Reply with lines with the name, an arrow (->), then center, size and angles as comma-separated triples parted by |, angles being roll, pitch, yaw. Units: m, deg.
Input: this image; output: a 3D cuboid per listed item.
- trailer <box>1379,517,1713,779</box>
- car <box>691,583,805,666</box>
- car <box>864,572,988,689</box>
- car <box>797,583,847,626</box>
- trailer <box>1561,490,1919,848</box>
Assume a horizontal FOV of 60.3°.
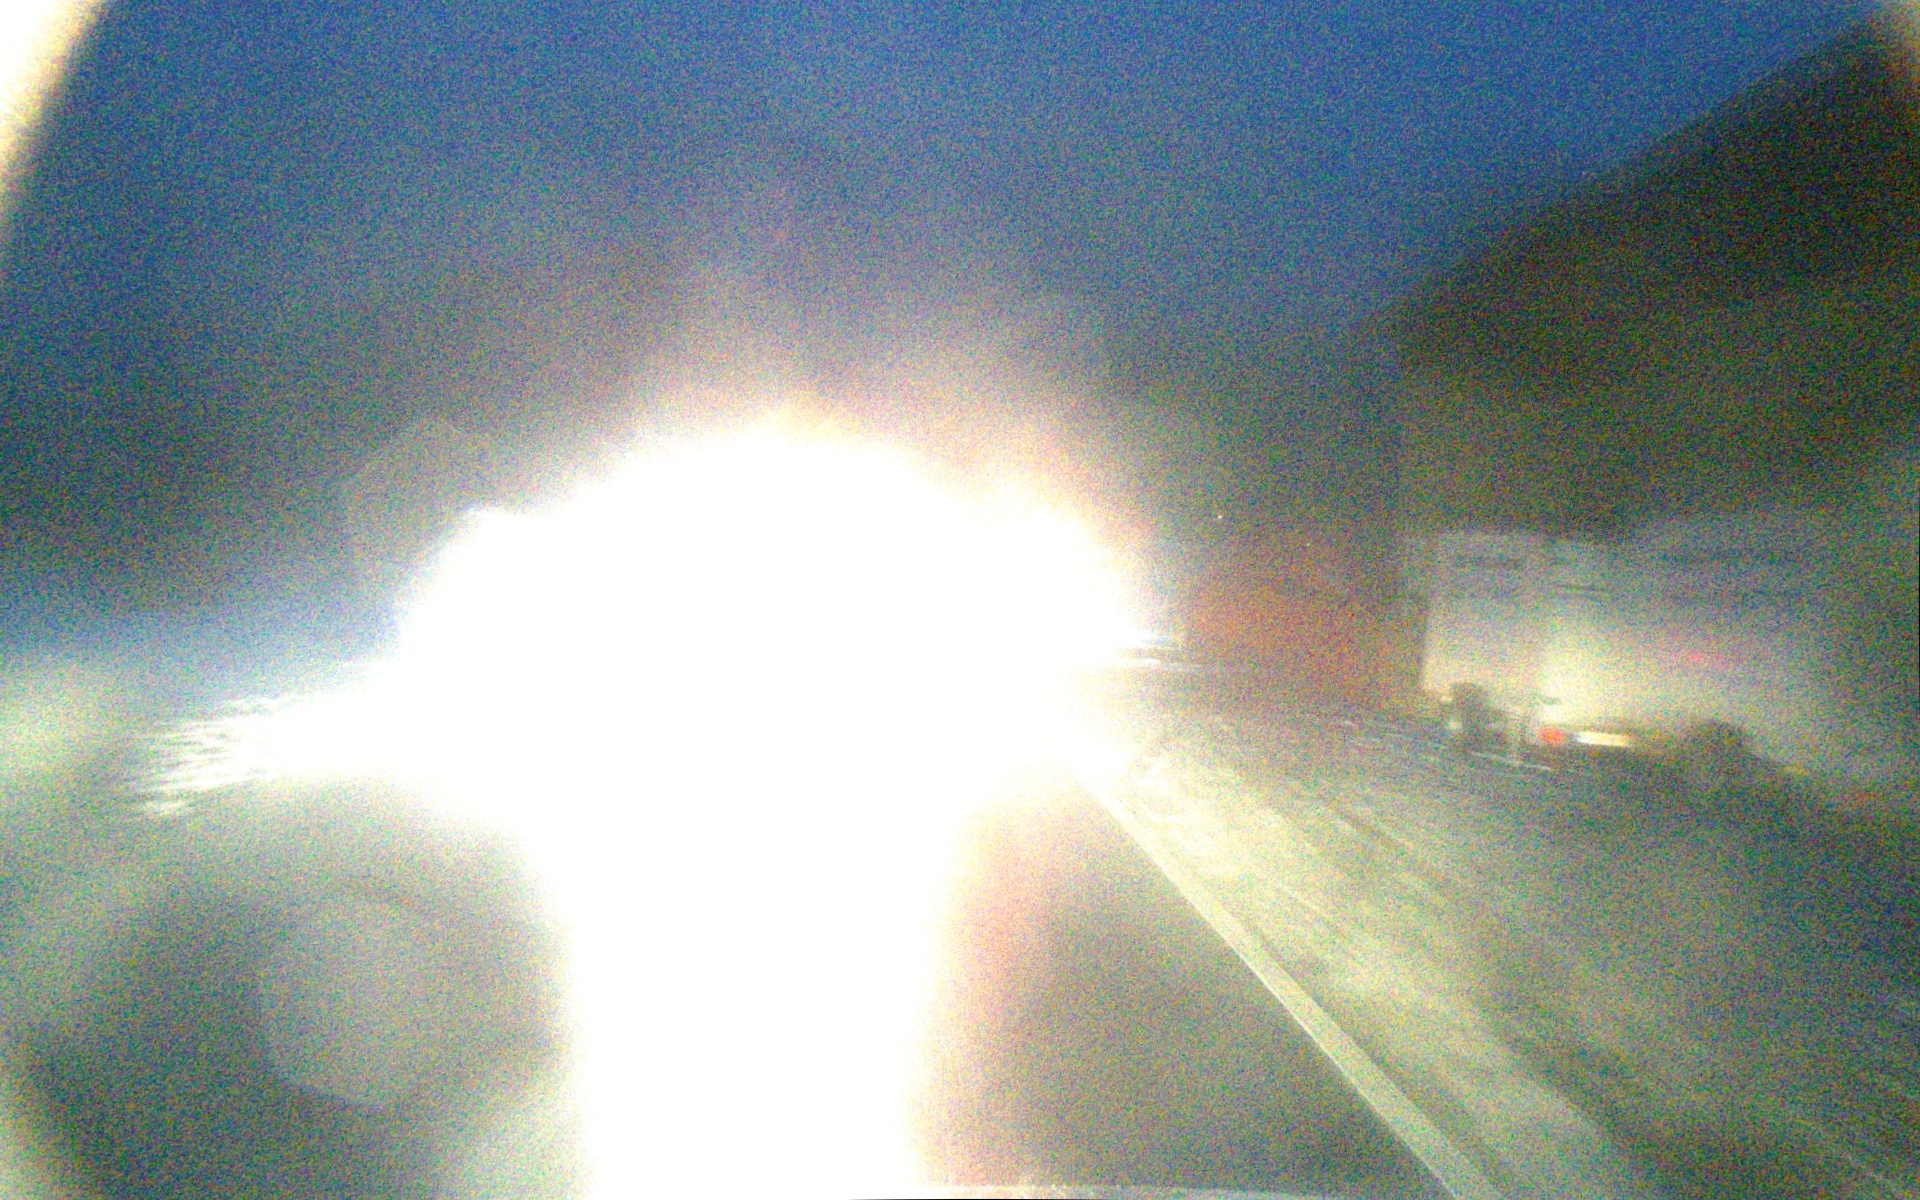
trailer -> 6.240, 0.443, 18.257 | 1.598, 2.405, 4.649 | 5, 0, -4
car -> -4.315, 0.469, 34.325 | 1.954, 1.485, 4.895 | 3, 0, -4
car -> -0.575, 0.435, 26.495 | 1.765, 1.657, 3.614 | 3, 0, -2
car -> -5.424, 0.162, 65.412 | 1.766, 1.535, 3.613 | 3, 1, -3
trailer -> 6.695, 0.490, 13.469 | 1.574, 2.392, 4.427 | 5, 0, -4
